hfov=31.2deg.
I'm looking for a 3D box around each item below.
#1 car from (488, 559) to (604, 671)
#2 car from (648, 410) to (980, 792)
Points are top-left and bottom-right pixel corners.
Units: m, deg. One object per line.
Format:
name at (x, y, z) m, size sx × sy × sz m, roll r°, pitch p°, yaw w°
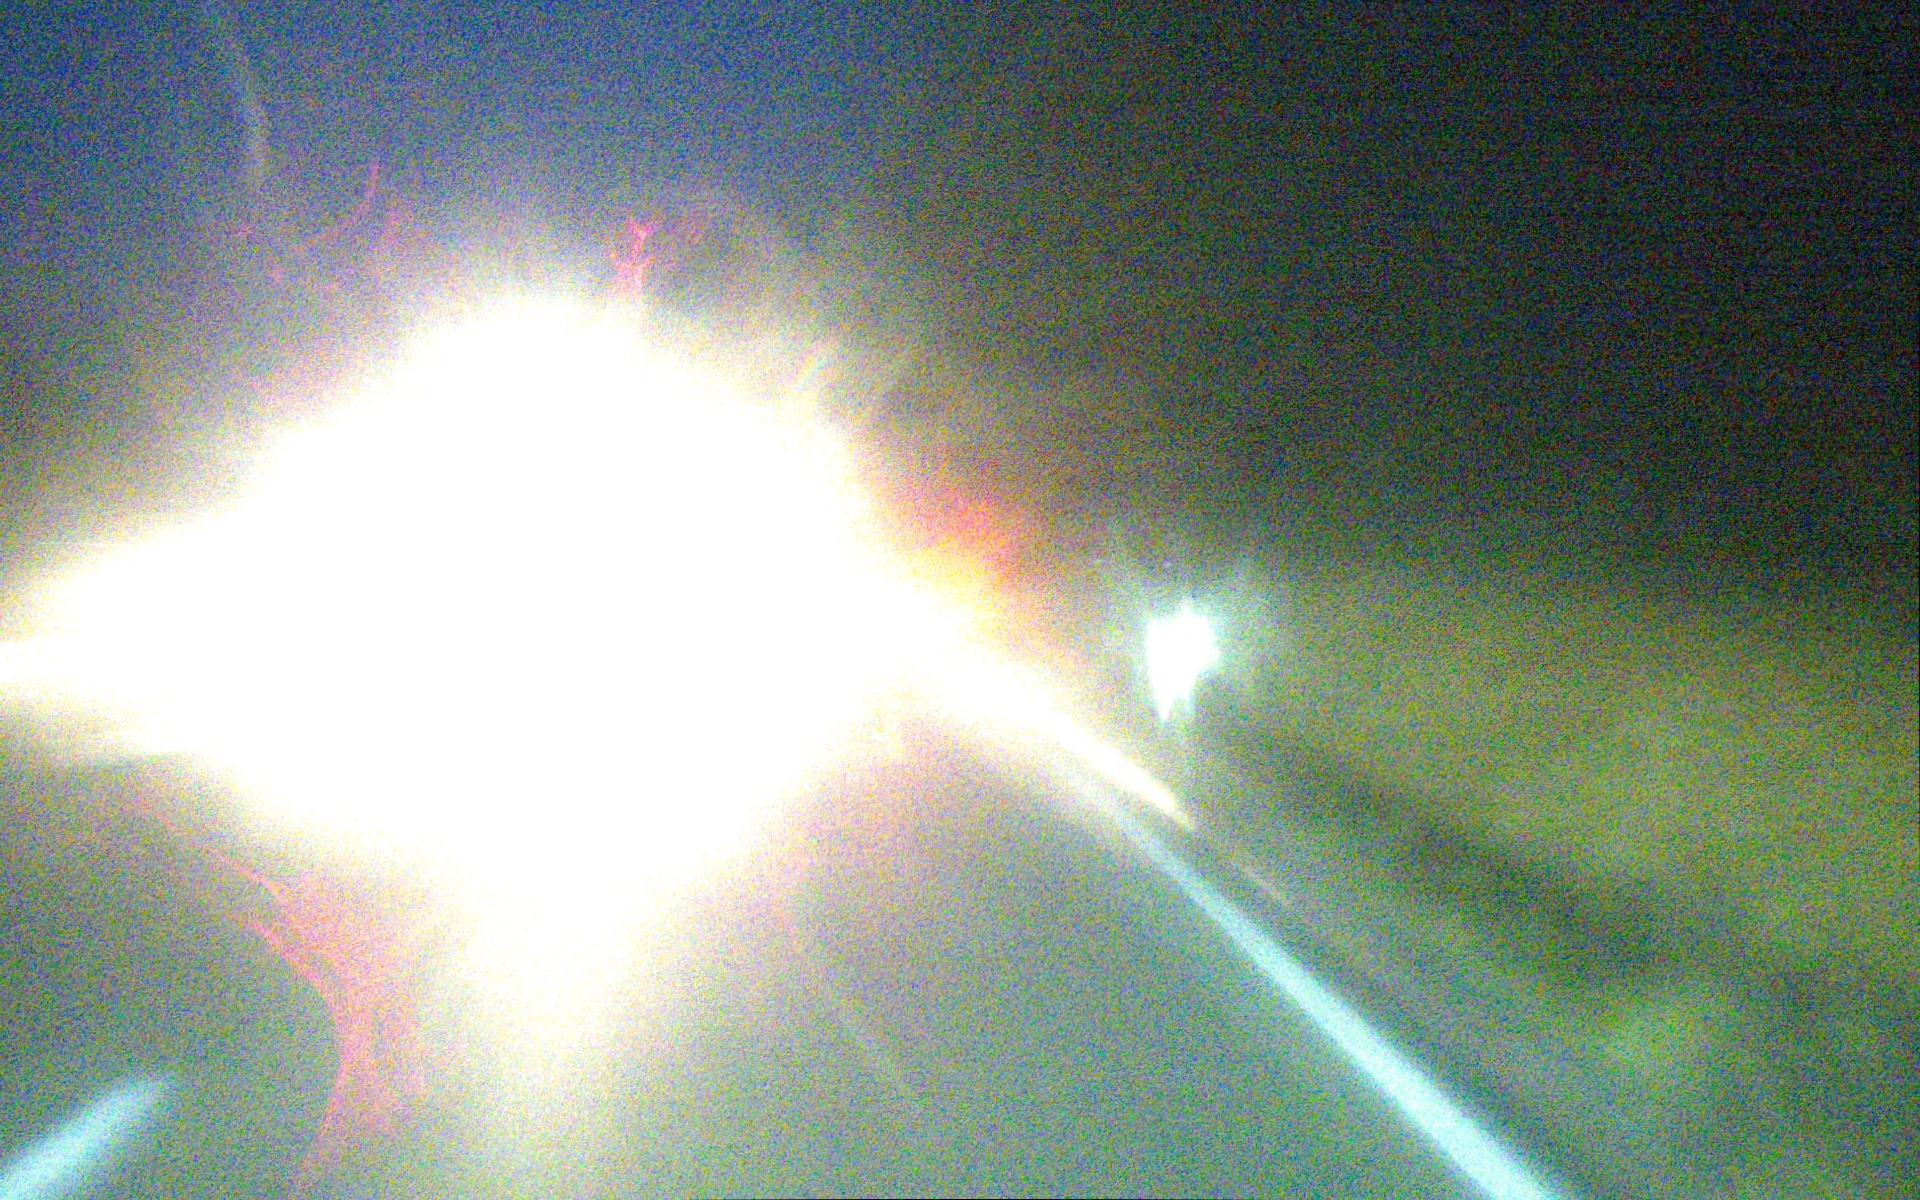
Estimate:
car at (-7.783, 0.246, 64.990) m, size 1.993 × 2.007 × 4.457 m, roll -1°, pitch 1°, yaw -5°
car at (-1.118, -0.055, 26.184) m, size 2.181 × 2.548 × 4.508 m, roll 3°, pitch 1°, yaw -3°
